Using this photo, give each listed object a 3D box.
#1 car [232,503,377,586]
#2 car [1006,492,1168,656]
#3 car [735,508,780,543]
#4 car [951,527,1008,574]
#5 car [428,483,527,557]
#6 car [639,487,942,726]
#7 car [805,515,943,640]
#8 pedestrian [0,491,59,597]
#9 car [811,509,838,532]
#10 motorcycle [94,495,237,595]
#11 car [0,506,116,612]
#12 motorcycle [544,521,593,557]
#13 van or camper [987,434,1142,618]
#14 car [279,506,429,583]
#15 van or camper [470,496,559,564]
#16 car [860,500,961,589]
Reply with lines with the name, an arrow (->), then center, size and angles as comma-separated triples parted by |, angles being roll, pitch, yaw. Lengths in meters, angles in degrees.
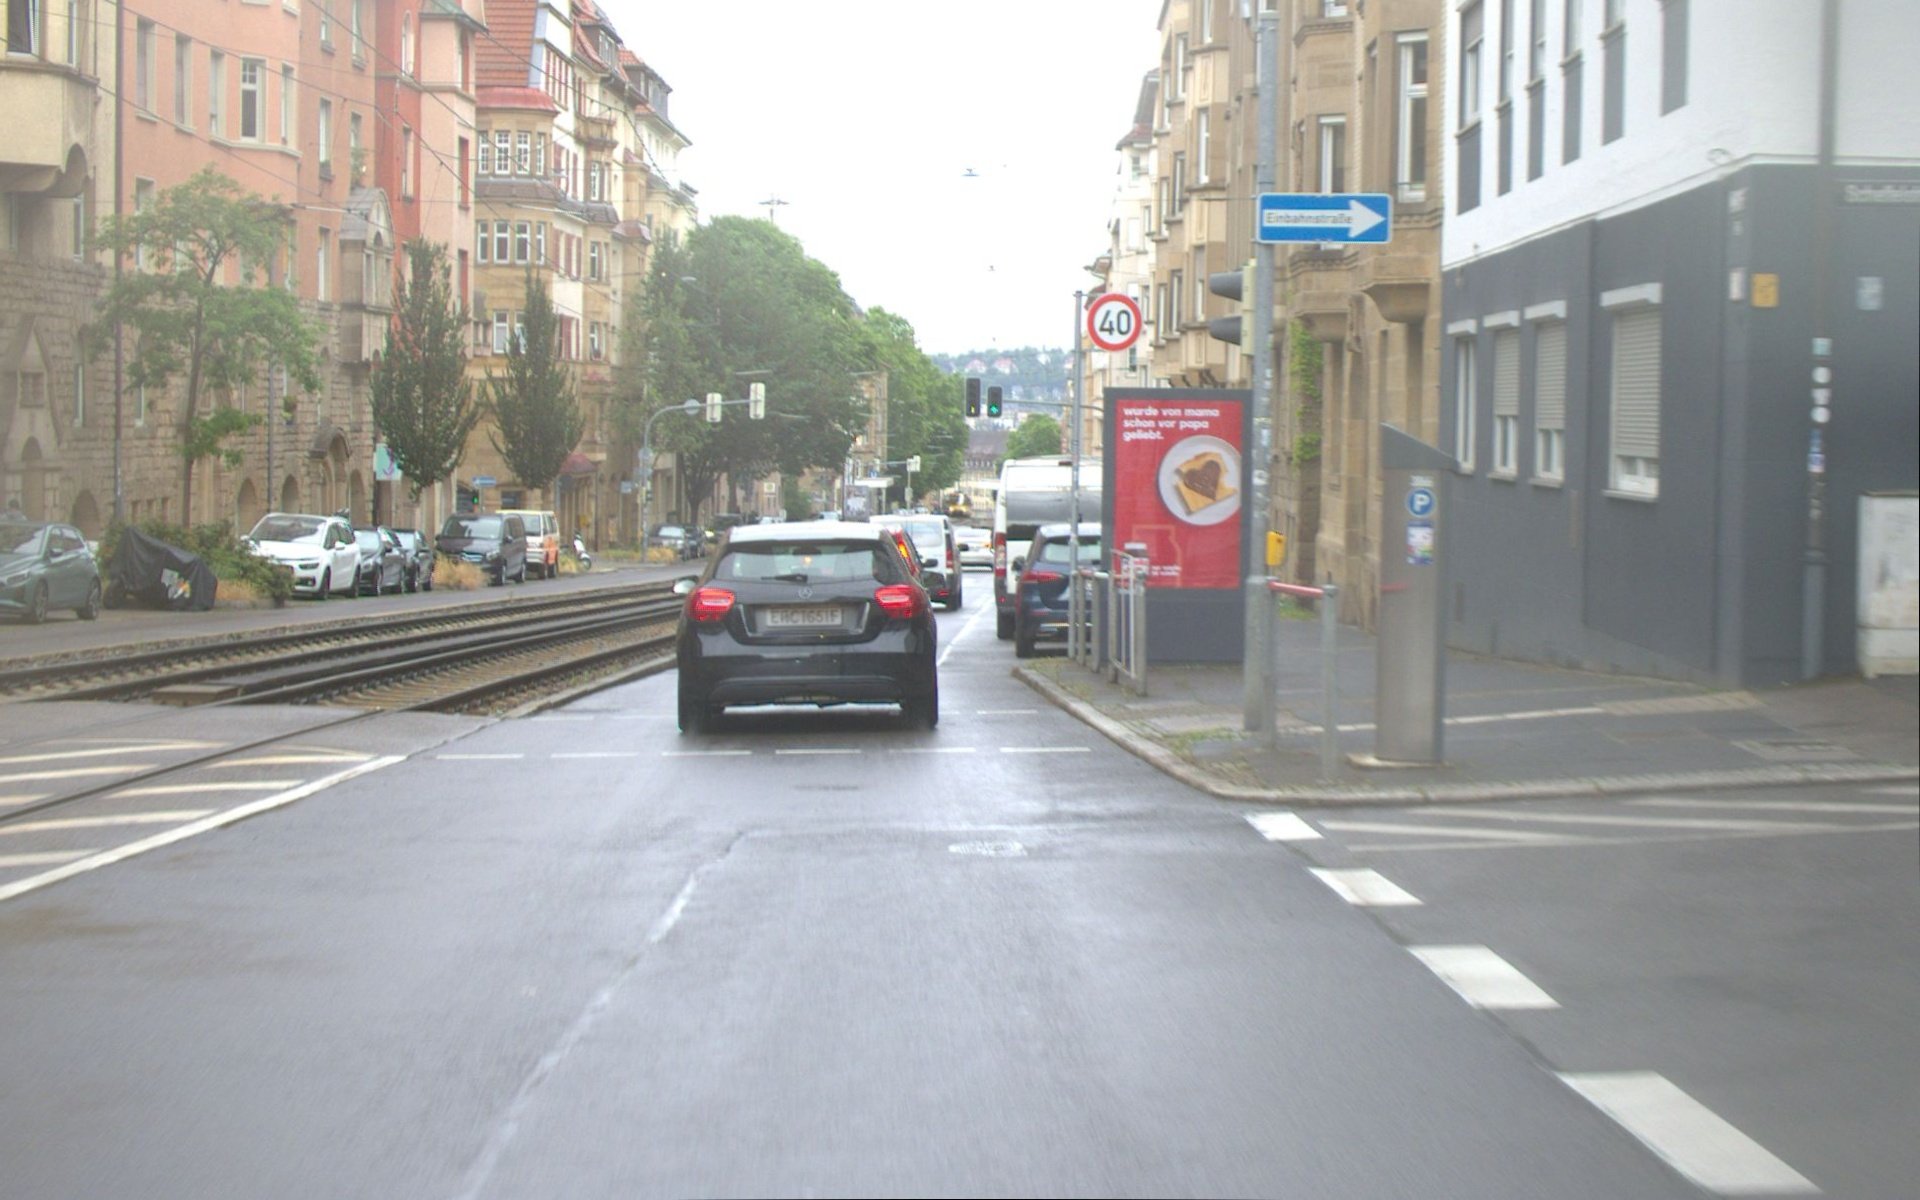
car -> -12.972, -1.103, 68.253 | 1.785, 1.584, 4.350 | 0, 1, 4
car -> 1.475, -0.336, 40.764 | 1.769, 1.802, 4.482 | 1, 1, 1
car -> -10.635, -3.917, 180.874 | 1.993, 1.787, 4.000 | 1, 1, 2
car -> 0.700, -1.690, 119.123 | 1.902, 1.588, 4.000 | 0, 0, 1
car -> -12.764, -2.117, 91.118 | 1.993, 1.895, 4.699 | 0, 1, 0
car -> -1.126, 0.023, 24.457 | 1.946, 1.559, 3.643 | 0, 1, 0
car -> -1.086, -0.329, 44.982 | 1.536, 1.505, 4.000 | 1, 2, 2
pedestrian -> -15.893, -0.947, 58.093 | 1.007, 1.747, 0.924 | 2, 1, 2
car -> -9.290, -5.413, 235.172 | 1.795, 1.543, 4.000 | 1, 1, -2
motorcycle -> -13.346, -0.923, 57.728 | 2.258, 1.637, 1.293 | 1, 1, -15
car -> -13.568, -0.625, 49.719 | 1.561, 1.433, 4.146 | 0, 2, 2
motorcycle -> -12.437, -1.935, 109.133 | 1.439, 1.130, 0.619 | 2, 1, 31
van or camper -> 1.490, -1.043, 49.370 | 2.064, 2.460, 6.118 | 1, 1, 2
car -> -13.035, -1.211, 74.232 | 1.994, 1.504, 4.974 | 3, 1, 4
van or camper -> -12.759, -2.041, 98.789 | 1.993, 1.895, 4.699 | 0, 2, -1
car -> -0.996, -1.108, 67.434 | 1.921, 1.649, 4.001 | 0, 2, -2
